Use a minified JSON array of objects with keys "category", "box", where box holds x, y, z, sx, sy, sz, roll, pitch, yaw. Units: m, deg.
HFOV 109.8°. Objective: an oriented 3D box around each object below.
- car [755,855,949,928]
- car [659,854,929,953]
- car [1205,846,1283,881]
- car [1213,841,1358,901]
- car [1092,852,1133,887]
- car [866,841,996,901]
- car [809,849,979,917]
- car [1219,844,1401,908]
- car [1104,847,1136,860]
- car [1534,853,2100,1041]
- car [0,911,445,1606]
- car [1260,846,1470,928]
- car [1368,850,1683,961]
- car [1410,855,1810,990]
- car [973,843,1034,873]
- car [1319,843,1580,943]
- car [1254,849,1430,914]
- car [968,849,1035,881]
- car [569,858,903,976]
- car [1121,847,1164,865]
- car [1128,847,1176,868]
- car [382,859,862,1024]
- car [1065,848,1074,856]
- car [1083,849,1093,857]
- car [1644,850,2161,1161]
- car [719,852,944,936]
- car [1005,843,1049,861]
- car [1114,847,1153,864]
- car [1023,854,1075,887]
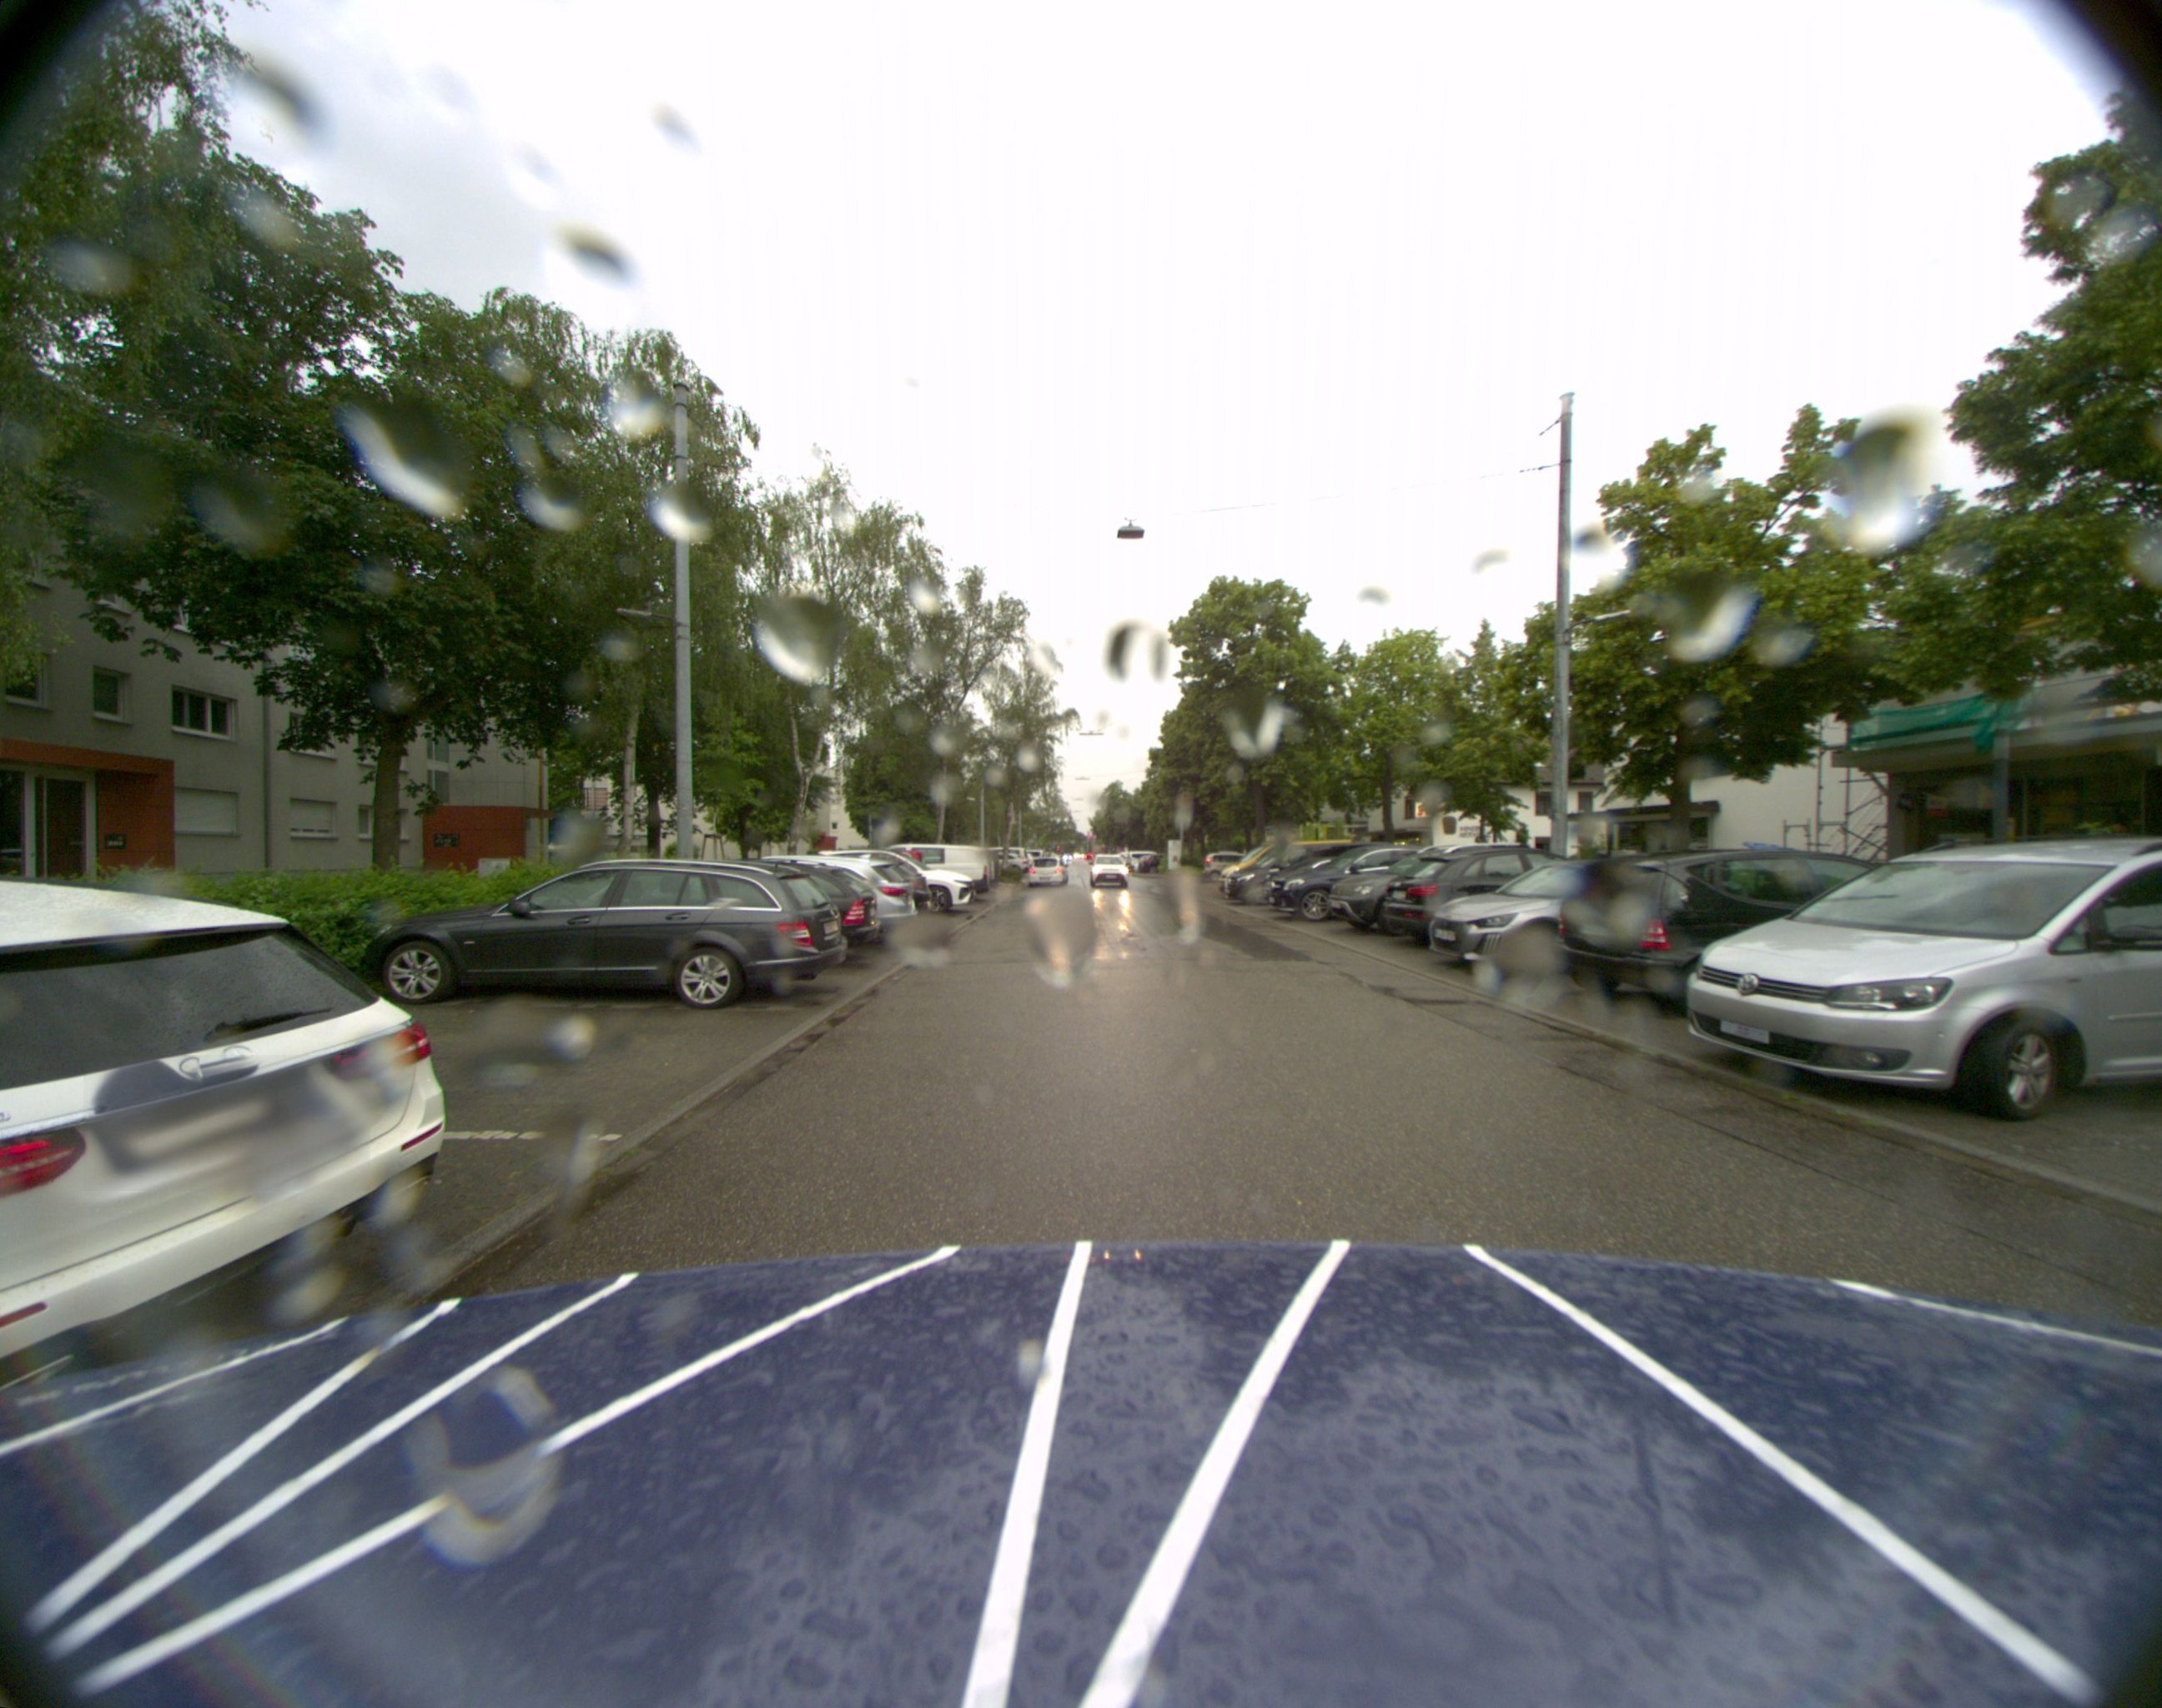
[{"category":"car","box":[-5.268,0.843,17.885,4.049,1.488,1.680,2,1,-3]},{"category":"car","box":[-4.863,0.818,13.304,4.049,1.488,1.680,2,1,-3]},{"category":"car","box":[8.859,0.506,41.406,3.993,1.677,1.842,-2,1,13]},{"category":"car","box":[7.174,0.571,26.935,4.657,1.947,1.715,-2,1,-2]},{"category":"car","box":[1.470,0.686,36.574,1.733,1.519,4.138,0,1,-1]},{"category":"car","box":[-5.089,0.575,26.190,4.182,1.856,1.679,2,1,-6]},{"category":"car","box":[-5.055,0.757,20.904,4.179,1.609,1.680,2,1,1]},{"category":"car","box":[7.106,0.646,23.862,5.177,1.789,1.715,-2,1,-2]},{"category":"car","box":[5.191,-0.068,101.614,3.998,1.675,1.999,-2,1,-3]},{"category":"car","box":[7.251,0.841,7.761,4.283,1.556,1.635,-2,1,-2]},{"category":"car","box":[-4.760,0.920,2.065,4.623,1.431,1.680,2,1,0]},{"category":"car","box":[6.600,0.720,17.948,4.283,1.717,1.715,-2,1,-2]},{"category":"car","box":[7.258,0.793,12.677,4.283,1.586,1.715,-2,1,-2]},{"category":"car","box":[6.986,0.845,10.318,4.283,1.523,1.715,-2,1,-2]},{"category":"car","box":[-5.466,0.260,54.112,3.995,1.902,1.902,-2,1,4]},{"category":"car","box":[7.080,0.709,14.867,4.283,1.717,1.715,-2,1,-2]},{"category":"car","box":[7.157,0.723,21.079,4.283,1.617,1.715,-2,1,-2]},{"category":"car","box":[-5.121,0.687,49.272,3.995,1.902,1.902,-2,1,4]},{"category":"car","box":[-4.816,0.855,11.058,4.049,1.431,1.680,2,1,-3]},{"category":"car","box":[6.151,0.201,75.929,3.998,1.675,1.999,-2,1,-3]},{"category":"car","box":[6.384,0.285,68.843,3.998,1.675,1.999,-2,1,-3]},{"category":"car","box":[-4.613,0.855,8.120,4.049,1.431,1.680,2,1,-3]},{"category":"car","box":[-2.739,-0.550,183.186,1.998,1.804,3.999,-2,1,1]},{"category":"car","box":[1.475,-0.177,163.022,1.999,1.617,3.999,-2,1,-1]},{"category":"car","box":[6.612,0.849,5.212,4.283,1.625,1.715,-2,1,-2]},{"category":"car","box":[-5.005,0.793,15.637,4.049,1.488,1.680,2,1,-3]},{"category":"car","box":[-5.293,-0.218,75.031,3.995,1.670,1.902,-2,1,4]},{"category":"car","box":[5.775,0.170,83.756,3.998,1.675,1.999,-2,1,-3]},{"category":"car","box":[-1.531,0.799,38.346,1.998,1.446,4.258,-2,1,5]}]
